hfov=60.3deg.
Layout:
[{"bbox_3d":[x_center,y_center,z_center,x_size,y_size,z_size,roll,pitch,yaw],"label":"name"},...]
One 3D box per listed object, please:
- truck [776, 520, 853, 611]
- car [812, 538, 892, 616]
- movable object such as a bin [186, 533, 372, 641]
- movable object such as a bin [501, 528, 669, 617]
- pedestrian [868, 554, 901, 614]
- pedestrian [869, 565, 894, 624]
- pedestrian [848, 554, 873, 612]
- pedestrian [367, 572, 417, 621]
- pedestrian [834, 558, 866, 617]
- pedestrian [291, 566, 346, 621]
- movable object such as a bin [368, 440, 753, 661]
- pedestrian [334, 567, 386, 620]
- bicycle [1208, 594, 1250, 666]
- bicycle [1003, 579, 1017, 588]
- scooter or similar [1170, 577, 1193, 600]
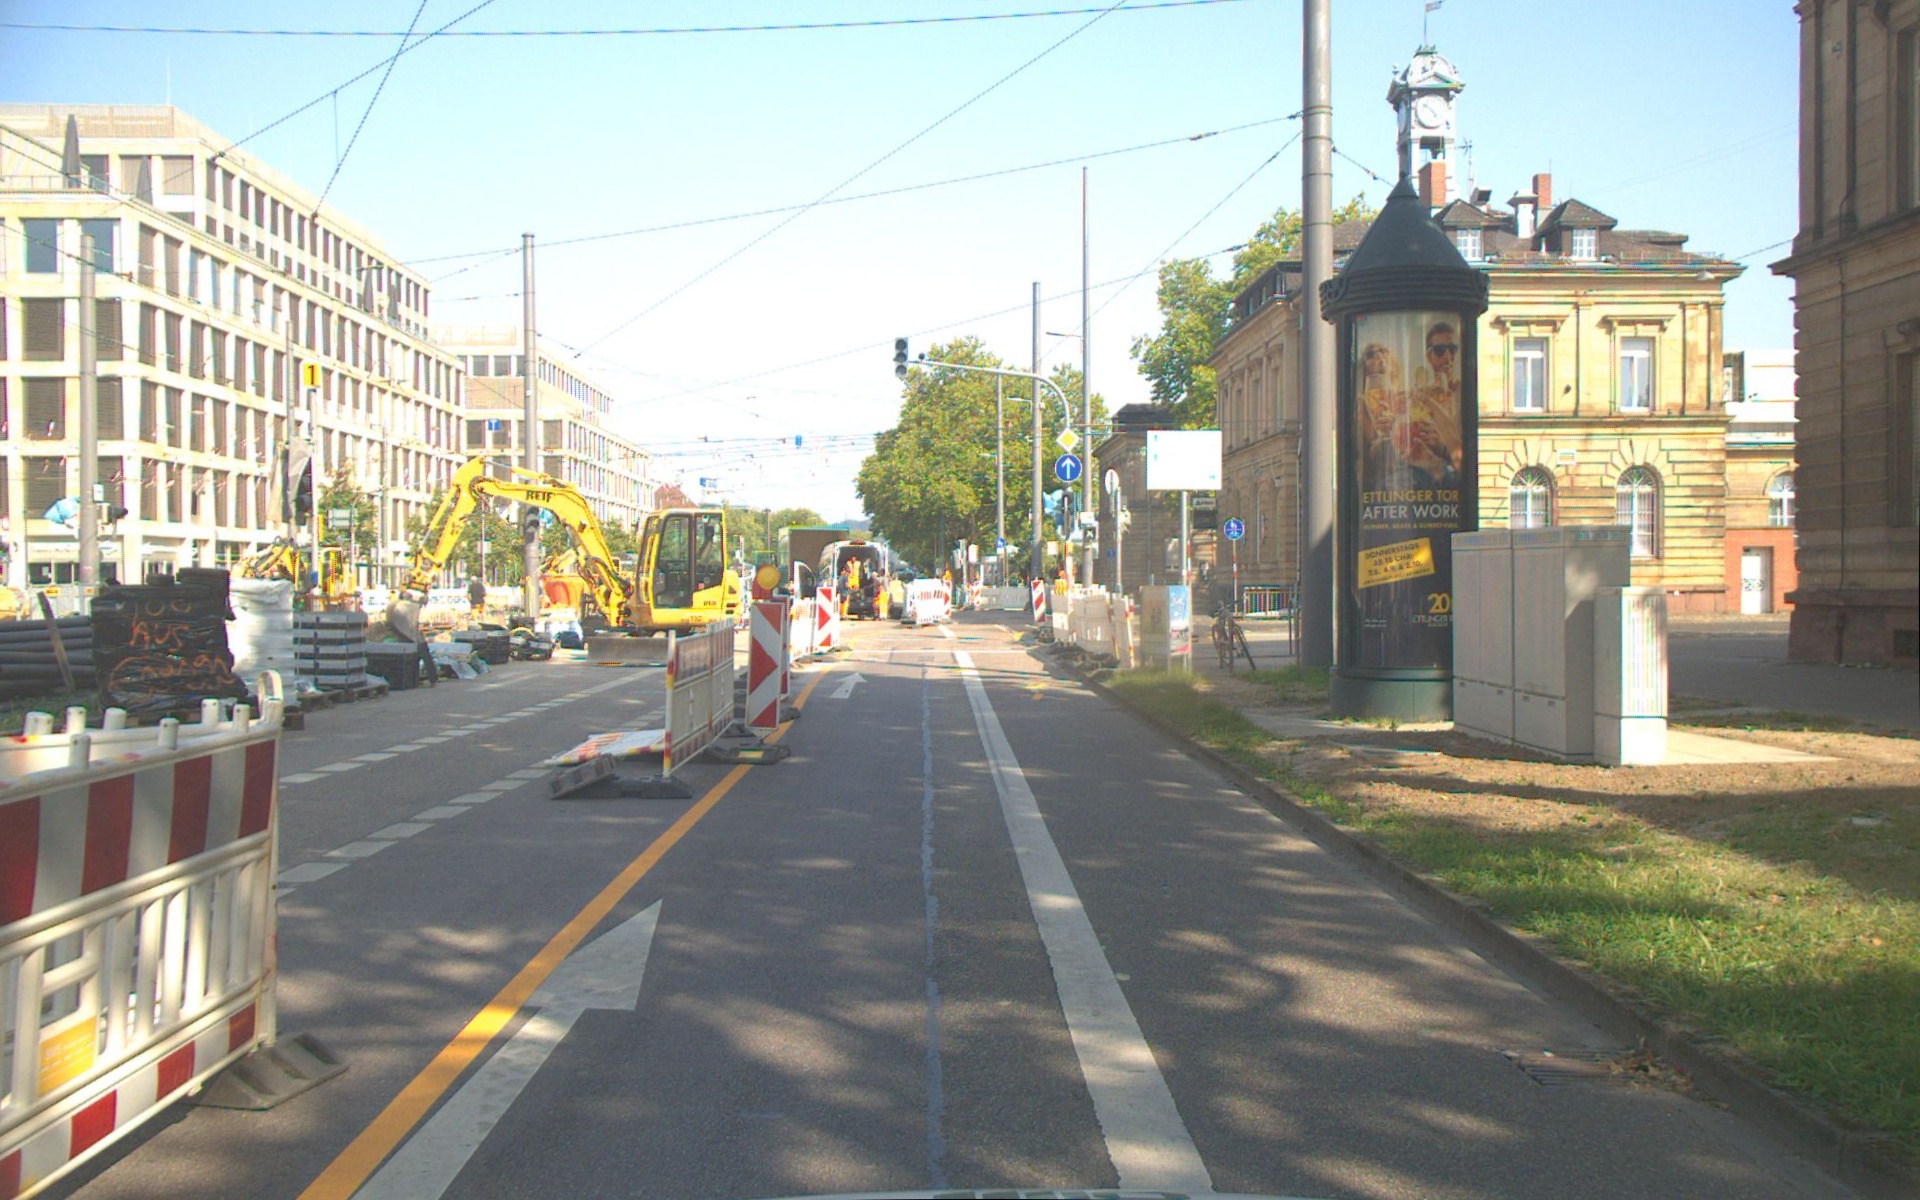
[{"bbox_3d":[-6.439,-1.480,72.228,2.625,3.742,8.194,-1,1,-10],"label":"truck"},{"bbox_3d":[-4.069,-0.842,61.435,2.186,2.777,5.154,-1,0,-13],"label":"car"},{"bbox_3d":[-23.048,-0.445,56.549,2.788,3.388,8.346,-1,0,0],"label":"movable object such as a bin"},{"bbox_3d":[-18.235,-1.367,81.126,3.432,4.083,9.041,-1,1,22],"label":"movable object such as a bin"},{"bbox_3d":[-2.630,-0.555,57.682,0.720,2.049,0.905,-1,0,32],"label":"pedestrian"},{"bbox_3d":[-2.776,-0.197,58.606,0.718,2.049,0.908,-1,0,5],"label":"pedestrian"},{"bbox_3d":[-3.586,-0.621,59.677,0.718,2.049,0.908,-1,0,4],"label":"pedestrian"},{"bbox_3d":[-17.116,-0.107,49.858,1.119,1.467,1.020,-1,0,-1],"label":"pedestrian"},{"bbox_3d":[-3.875,-0.433,58.240,0.720,2.049,0.905,-1,0,30],"label":"pedestrian"},{"bbox_3d":[-17.430,-0.174,44.956,1.119,1.467,0.917,-1,0,-1],"label":"pedestrian"},{"bbox_3d":[-6.650,-0.783,27.607,6.055,3.404,2.103,0,0,-21],"label":"movable object such as a bin"},{"bbox_3d":[-17.014,-0.185,46.895,1.119,1.467,0.917,-1,0,-1],"label":"pedestrian"},{"bbox_3d":[3.937,0.428,24.244,0.402,1.004,1.376,-1,1,1],"label":"bicycle"},{"bbox_3d":[5.995,-1.943,198.369,1.621,0.986,0.506,-3,0,4],"label":"bicycle"},{"bbox_3d":[12.496,-0.636,93.260,1.236,1.231,0.419,-2,2,-27],"label":"scooter or similar"}]
